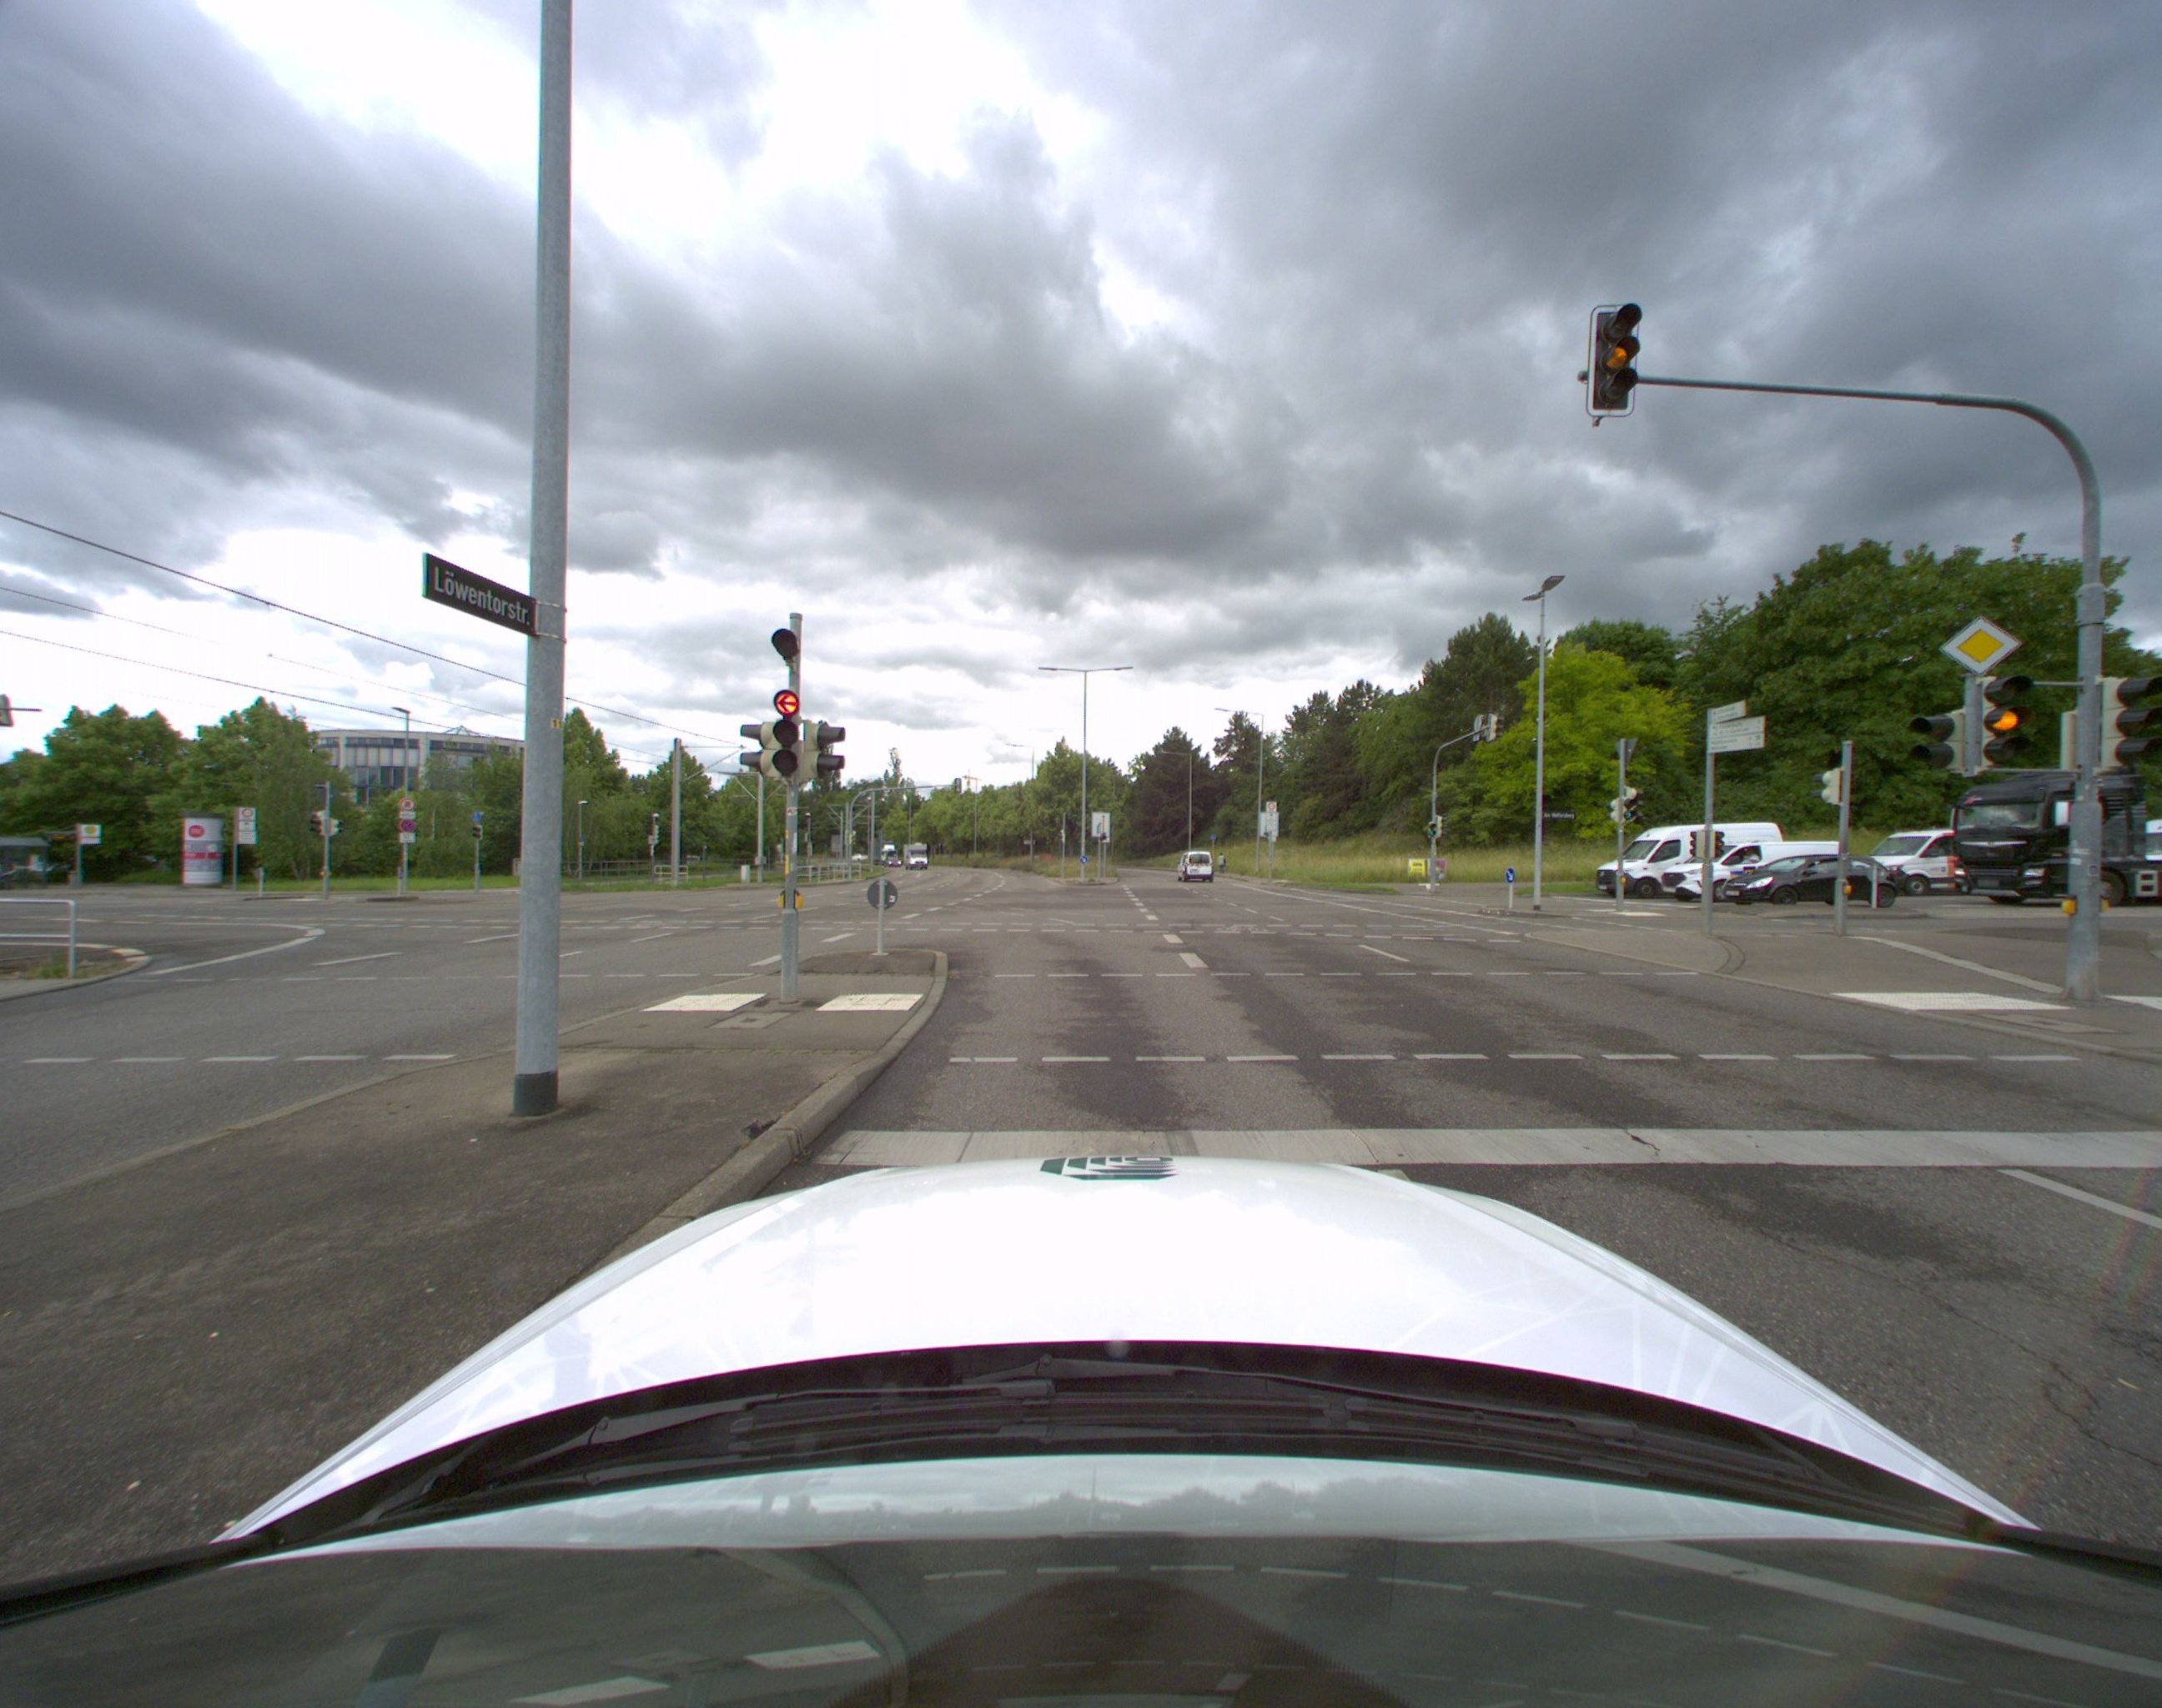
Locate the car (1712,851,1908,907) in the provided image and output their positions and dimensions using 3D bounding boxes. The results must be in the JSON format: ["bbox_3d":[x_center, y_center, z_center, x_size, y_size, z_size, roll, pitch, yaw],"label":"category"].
[{"bbox_3d":[20.277,0.669,22.767,3.905,1.436,1.732,-1,0,1],"label":"car"}]

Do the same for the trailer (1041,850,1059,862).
[{"bbox_3d":[-4.298,0.257,112.527,1.769,1.616,3.026,-1,0,-18],"label":"trailer"}]

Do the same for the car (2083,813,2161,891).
[{"bbox_3d":[39.720,-0.130,28.483,6.473,2.609,2.197,-1,0,2],"label":"car"}]

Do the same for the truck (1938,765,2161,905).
[{"bbox_3d":[27.931,-0.515,22.264,6.027,3.538,2.729,-1,0,2],"label":"truck"}]

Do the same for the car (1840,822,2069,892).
[{"bbox_3d":[30.680,0.109,28.758,5.677,2.289,2.136,-1,0,2],"label":"car"}]

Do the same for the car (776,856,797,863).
[{"bbox_3d":[-60.546,1.089,167.489,4.469,1.446,1.798,0,2,33],"label":"car"}]

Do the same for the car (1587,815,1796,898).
[{"bbox_3d":[21.895,0.095,29.404,5.870,2.781,2.136,-1,0,2],"label":"car"}]

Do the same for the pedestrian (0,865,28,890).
[{"bbox_3d":[-56.381,1.251,43.005,0.774,1.304,0.666,0,0,15],"label":"pedestrian"}]

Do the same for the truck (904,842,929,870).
[{"bbox_3d":[-19.079,0.266,94.400,2.121,3.135,5.863,0,-1,-18],"label":"truck"}]

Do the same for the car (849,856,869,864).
[{"bbox_3d":[-44.144,1.221,161.773,3.973,1.546,1.795,0,0,38],"label":"car"}]

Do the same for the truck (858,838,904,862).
[{"bbox_3d":[-32.924,-0.555,133.578,3.071,3.760,12.676,0,-1,-34],"label":"truck"}]

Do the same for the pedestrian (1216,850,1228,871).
[{"bbox_3d":[10.995,0.520,63.692,0.811,1.627,0.791,0,0,1],"label":"pedestrian"}]

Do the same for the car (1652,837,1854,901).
[{"bbox_3d":[21.588,0.457,26.324,4.836,1.896,2.034,-1,0,1],"label":"car"}]

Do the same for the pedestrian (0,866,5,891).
[{"bbox_3d":[-57.809,1.297,43.183,0.774,1.303,0.666,0,0,15],"label":"pedestrian"}]

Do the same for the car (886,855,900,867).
[{"bbox_3d":[-26.339,0.923,114.232,1.783,1.446,4.508,-2,2,-13],"label":"car"}]

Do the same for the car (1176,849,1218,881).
[{"bbox_3d":[6.916,0.674,48.951,1.986,1.802,4.842,-1,-1,2],"label":"car"}]
